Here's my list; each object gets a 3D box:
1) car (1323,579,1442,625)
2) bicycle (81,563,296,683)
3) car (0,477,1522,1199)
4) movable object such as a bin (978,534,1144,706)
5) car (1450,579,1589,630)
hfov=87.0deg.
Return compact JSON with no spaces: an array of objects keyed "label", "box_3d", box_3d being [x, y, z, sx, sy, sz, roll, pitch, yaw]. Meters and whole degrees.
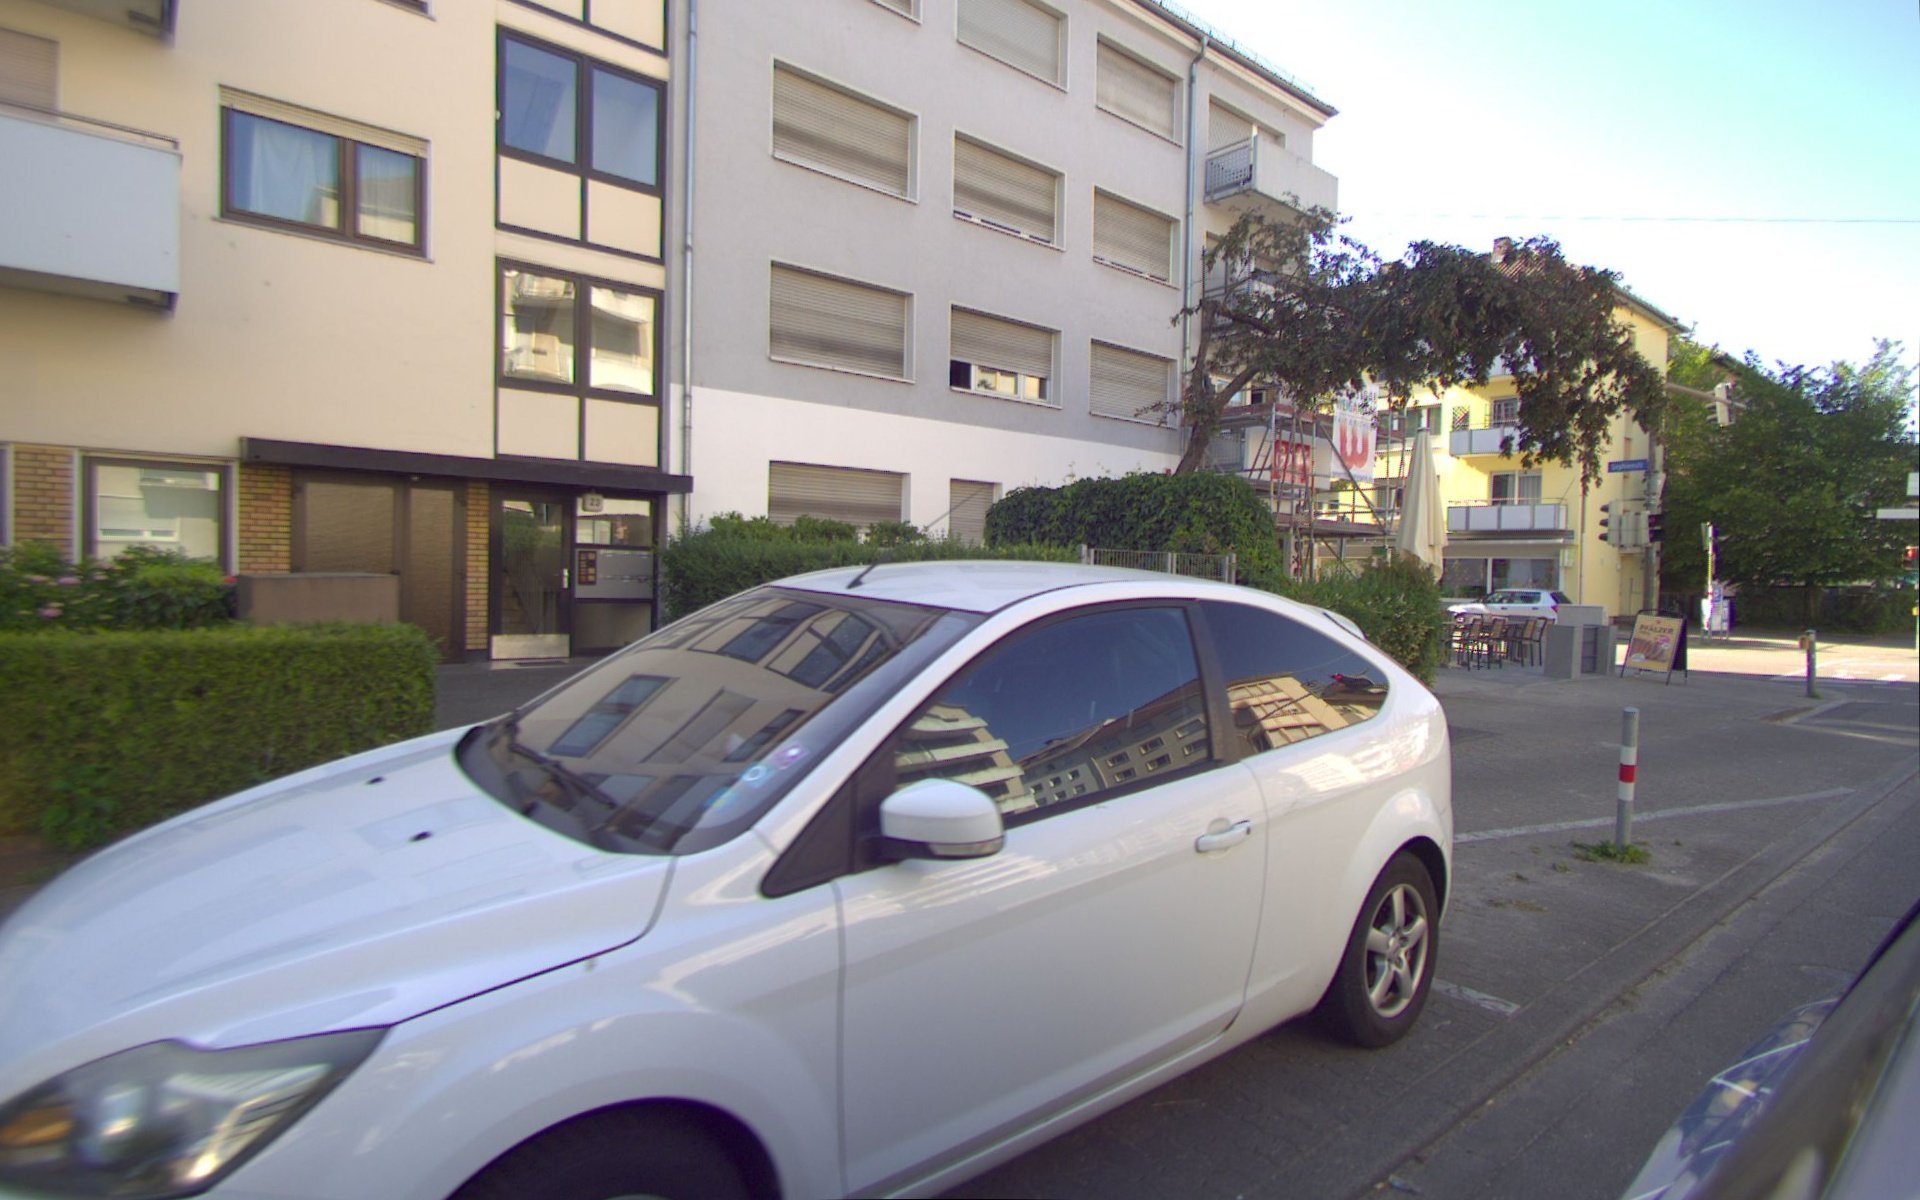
[{"label":"car","box_3d":[15.104,0.016,36.278,1.551,1.500,3.644,-1,2,-39]},{"label":"bicycle","box_3d":[-7.730,0.206,10.194,1.689,1.122,0.460,0,1,-41]},{"label":"car","box_3d":[-0.163,0.563,2.958,4.121,1.500,1.743,0,3,-40]},{"label":"movable object such as a bin","box_3d":[0.881,0.139,8.931,1.138,1.372,0.831,5,3,41]},{"label":"car","box_3d":[17.990,0.096,32.678,1.454,1.500,3.644,0,2,-39]}]
